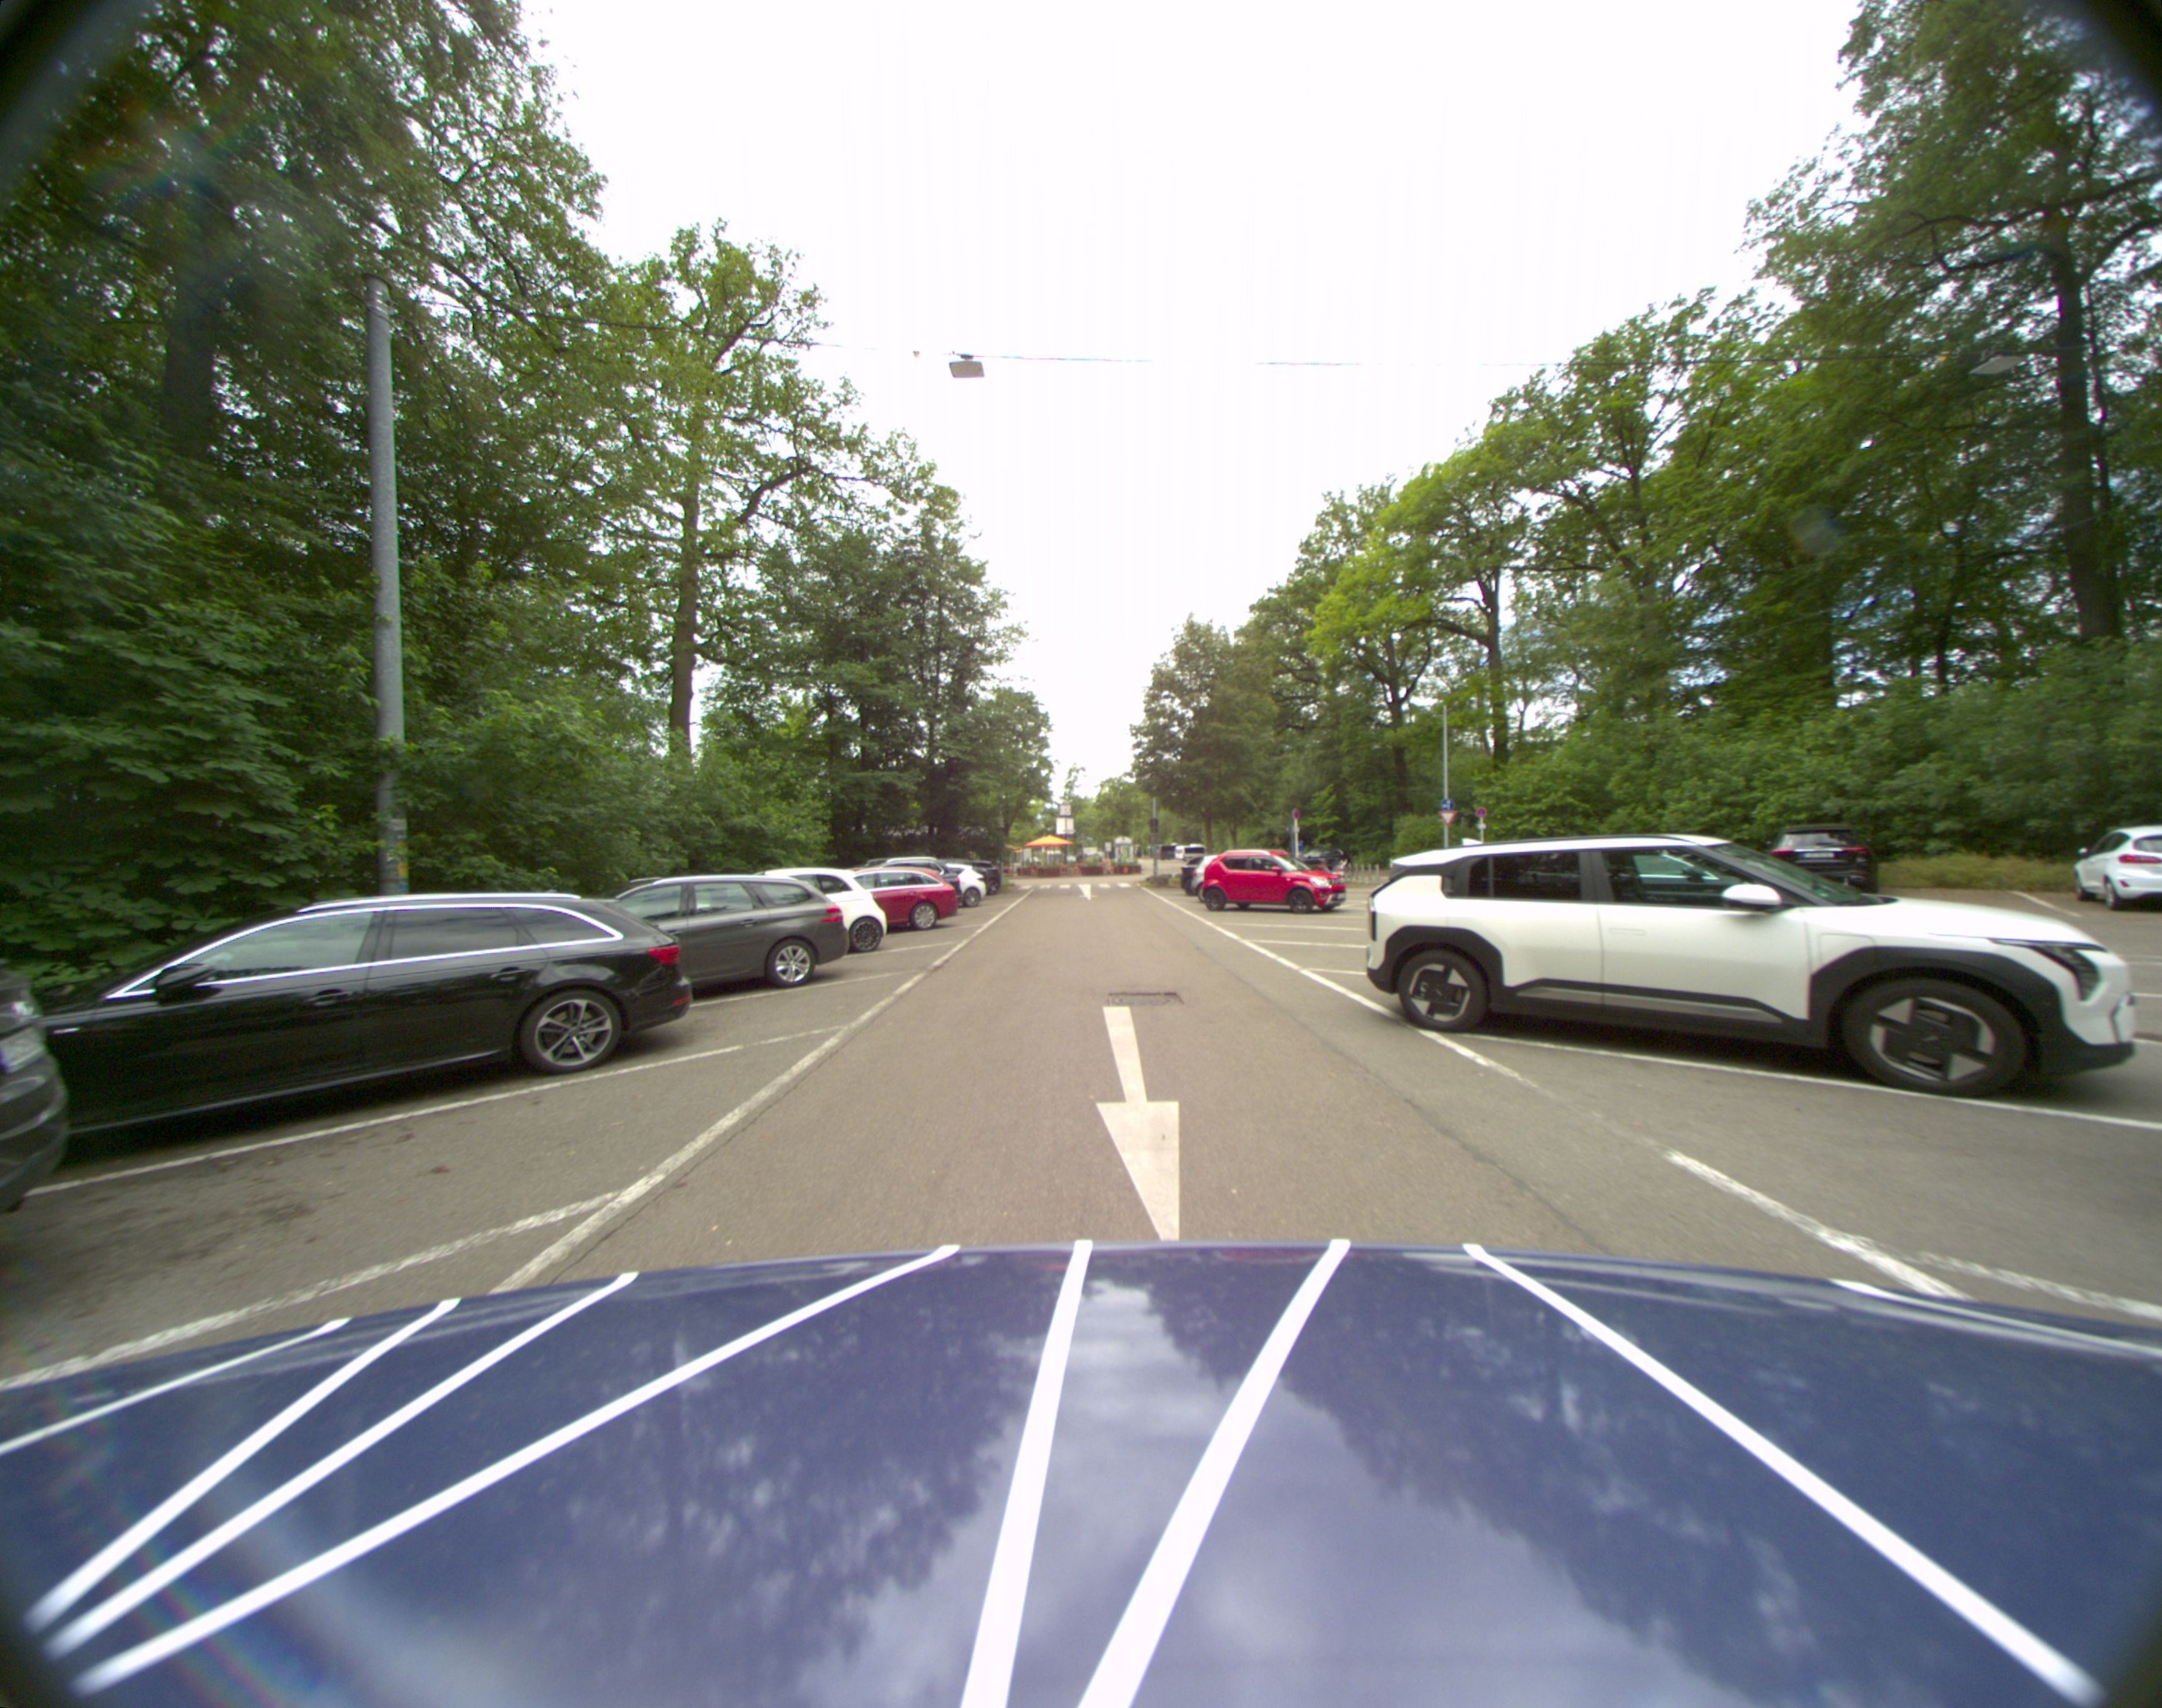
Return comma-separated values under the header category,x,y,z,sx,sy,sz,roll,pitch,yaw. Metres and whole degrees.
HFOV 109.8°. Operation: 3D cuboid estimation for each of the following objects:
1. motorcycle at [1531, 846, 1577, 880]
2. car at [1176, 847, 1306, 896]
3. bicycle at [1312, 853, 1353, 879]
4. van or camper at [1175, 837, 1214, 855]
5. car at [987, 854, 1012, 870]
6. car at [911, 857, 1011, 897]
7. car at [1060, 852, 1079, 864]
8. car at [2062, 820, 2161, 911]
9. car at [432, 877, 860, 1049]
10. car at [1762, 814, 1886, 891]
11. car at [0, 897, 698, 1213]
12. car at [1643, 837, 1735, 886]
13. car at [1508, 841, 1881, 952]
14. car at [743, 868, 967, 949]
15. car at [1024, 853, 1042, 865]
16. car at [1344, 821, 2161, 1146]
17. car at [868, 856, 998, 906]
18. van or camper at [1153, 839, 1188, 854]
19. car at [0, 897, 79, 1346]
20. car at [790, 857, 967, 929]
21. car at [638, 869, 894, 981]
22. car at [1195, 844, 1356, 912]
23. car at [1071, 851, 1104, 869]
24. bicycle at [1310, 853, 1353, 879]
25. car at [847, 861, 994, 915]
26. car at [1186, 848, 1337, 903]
category,x,y,z,sx,sy,sz,roll,pitch,yaw
motorcycle,17.950,0.315,28.824,2.033,1.201,0.729,-2,1,-34
car,5.503,0.590,26.483,1.834,1.514,4.089,-2,1,-42
bicycle,11.278,0.546,34.094,1.695,1.105,0.483,-2,1,8
van or camper,19.454,-1.321,129.904,7.354,2.833,2.063,-2,1,-40
car,-8.256,0.780,76.975,2.001,1.543,3.995,-1,0,-13
car,-4.964,0.921,31.742,1.695,1.483,3.799,-1,1,44
car,-1.786,0.605,116.890,1.879,1.769,4.289,-2,0,-17
car,19.534,0.148,13.676,4.008,1.502,1.864,-2,0,-44
car,-5.100,1.095,9.309,4.195,1.449,1.800,-2,0,-44
car,19.417,-0.059,19.832,4.718,1.756,2.106,-2,0,-44
car,-5.410,1.149,5.489,1.960,1.369,4.271,-1,0,43
car,19.144,0.194,23.867,4.008,1.368,1.735,-2,1,-44
car,9.419,0.577,12.010,4.304,1.433,1.873,-1,0,42
car,-4.931,1.094,16.907,4.304,1.405,1.923,-2,1,-40
car,-7.334,0.749,115.790,1.879,1.769,4.289,-2,0,-17
car,4.425,0.658,5.739,4.178,1.587,1.850,-2,0,43
car,-5.271,0.921,27.443,1.952,1.571,4.211,-1,1,43
van or camper,18.079,-1.608,153.725,7.353,2.833,2.198,-2,1,-35
car,-5.675,1.048,1.443,4.271,1.627,1.960,-2,0,-44
car,-5.321,0.962,20.274,4.127,1.608,1.837,-2,1,-41
car,-5.232,1.071,12.866,3.589,1.496,1.730,-2,0,-42
car,4.983,0.592,19.703,3.644,1.576,1.690,-1,0,42
car,0.580,0.567,71.696,1.937,1.660,4.339,-2,0,-15
bicycle,10.936,0.522,33.224,1.683,1.105,0.506,-2,1,6
car,-5.015,1.012,24.101,4.127,1.430,1.864,-2,1,-41
car,5.364,0.623,22.833,3.989,1.475,1.880,-1,1,43
